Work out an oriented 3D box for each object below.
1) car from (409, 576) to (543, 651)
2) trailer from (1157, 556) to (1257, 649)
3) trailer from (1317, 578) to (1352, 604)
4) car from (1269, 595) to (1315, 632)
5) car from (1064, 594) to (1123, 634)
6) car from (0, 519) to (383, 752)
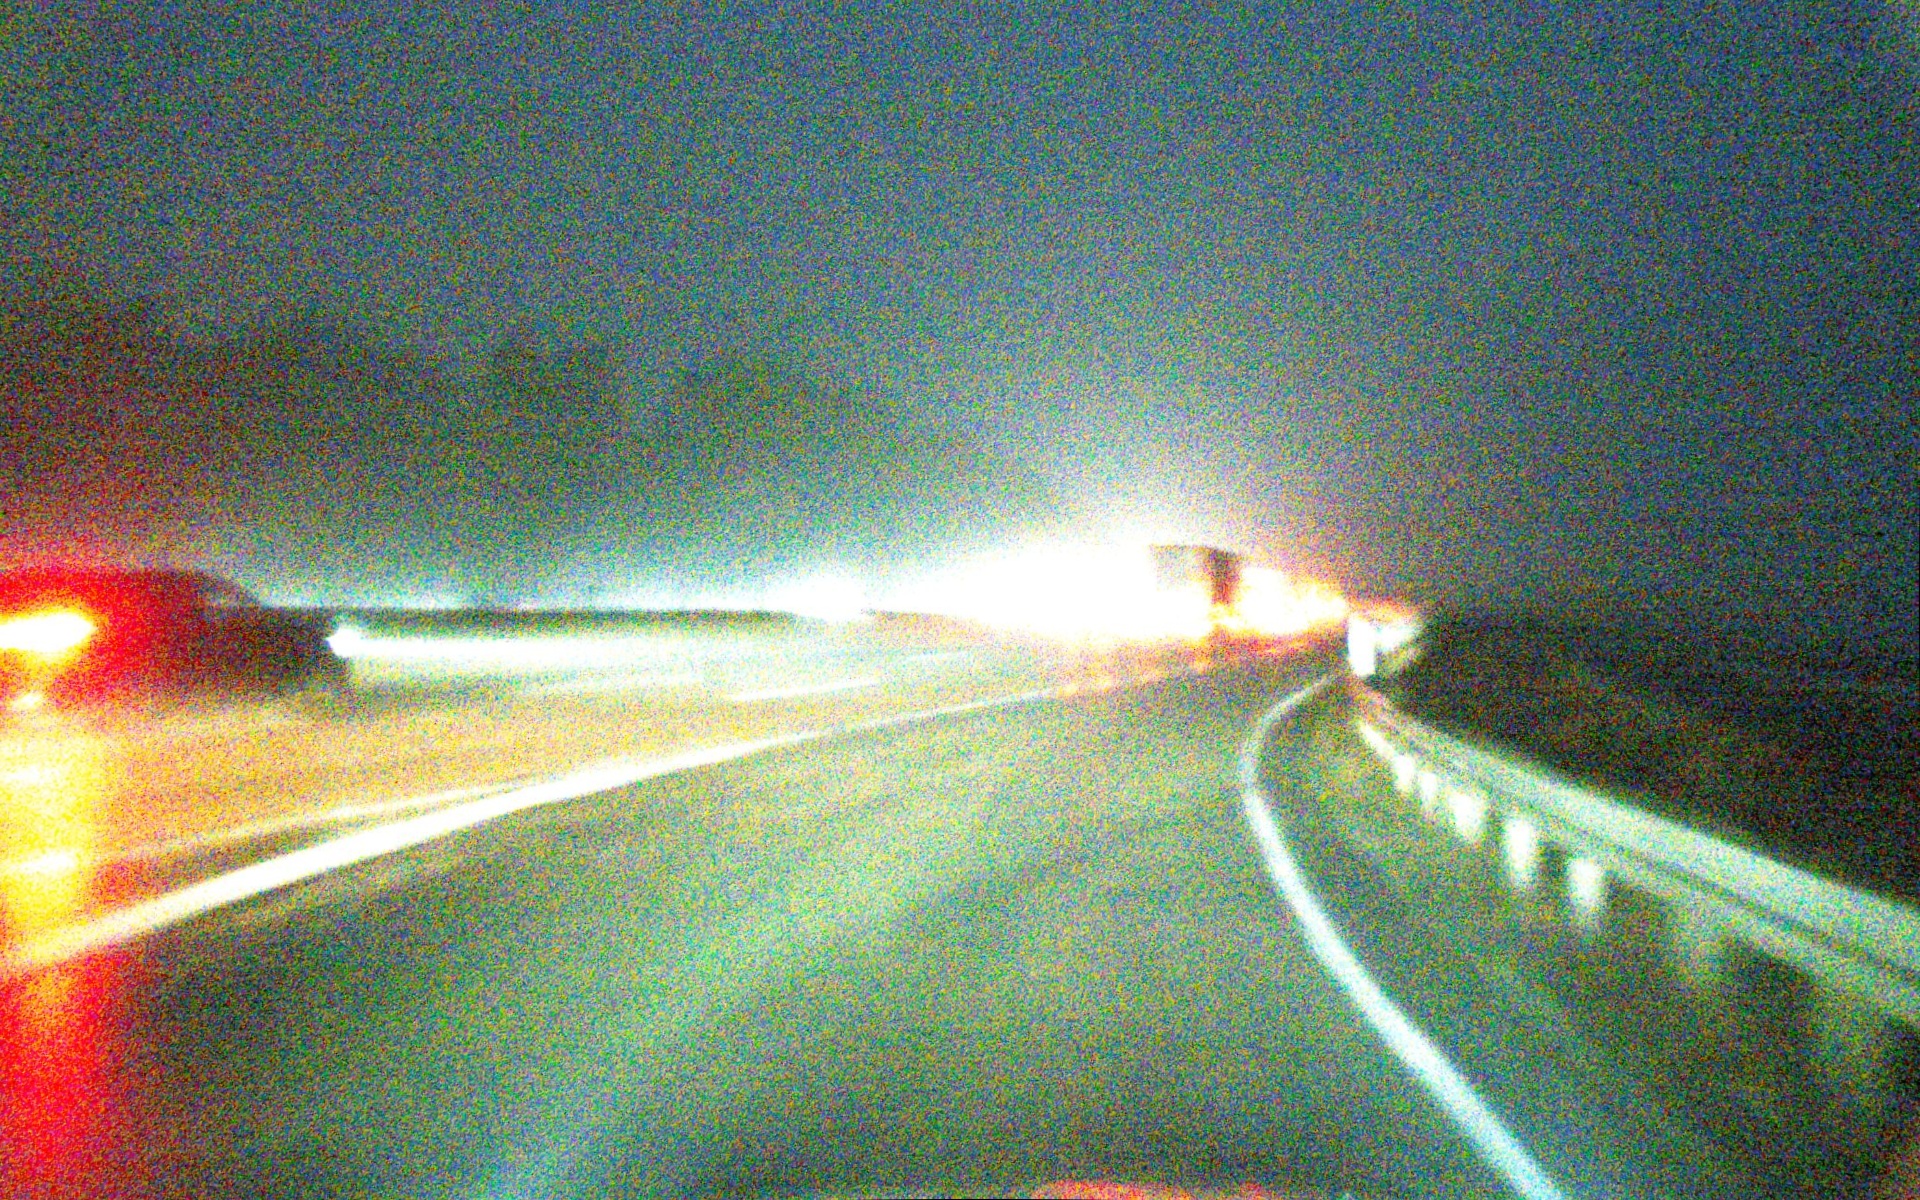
[{"bbox_3d":[-14.590,0.402,50.071,1.952,2.048,4.002,3,1,16],"label":"car"},{"bbox_3d":[11.737,0.167,77.313,2.537,3.789,13.660,4,0,17],"label":"trailer"},{"bbox_3d":[44.267,-0.983,195.260,2.631,2.746,12.862,3,1,18],"label":"trailer"},{"bbox_3d":[17.942,0.723,89.295,1.952,1.850,4.002,3,1,18],"label":"car"},{"bbox_3d":[6.029,0.623,74.344,1.951,1.646,4.003,3,1,14],"label":"car"},{"bbox_3d":[-8.349,0.288,17.203,1.952,2.048,4.569,3,1,19],"label":"car"}]
